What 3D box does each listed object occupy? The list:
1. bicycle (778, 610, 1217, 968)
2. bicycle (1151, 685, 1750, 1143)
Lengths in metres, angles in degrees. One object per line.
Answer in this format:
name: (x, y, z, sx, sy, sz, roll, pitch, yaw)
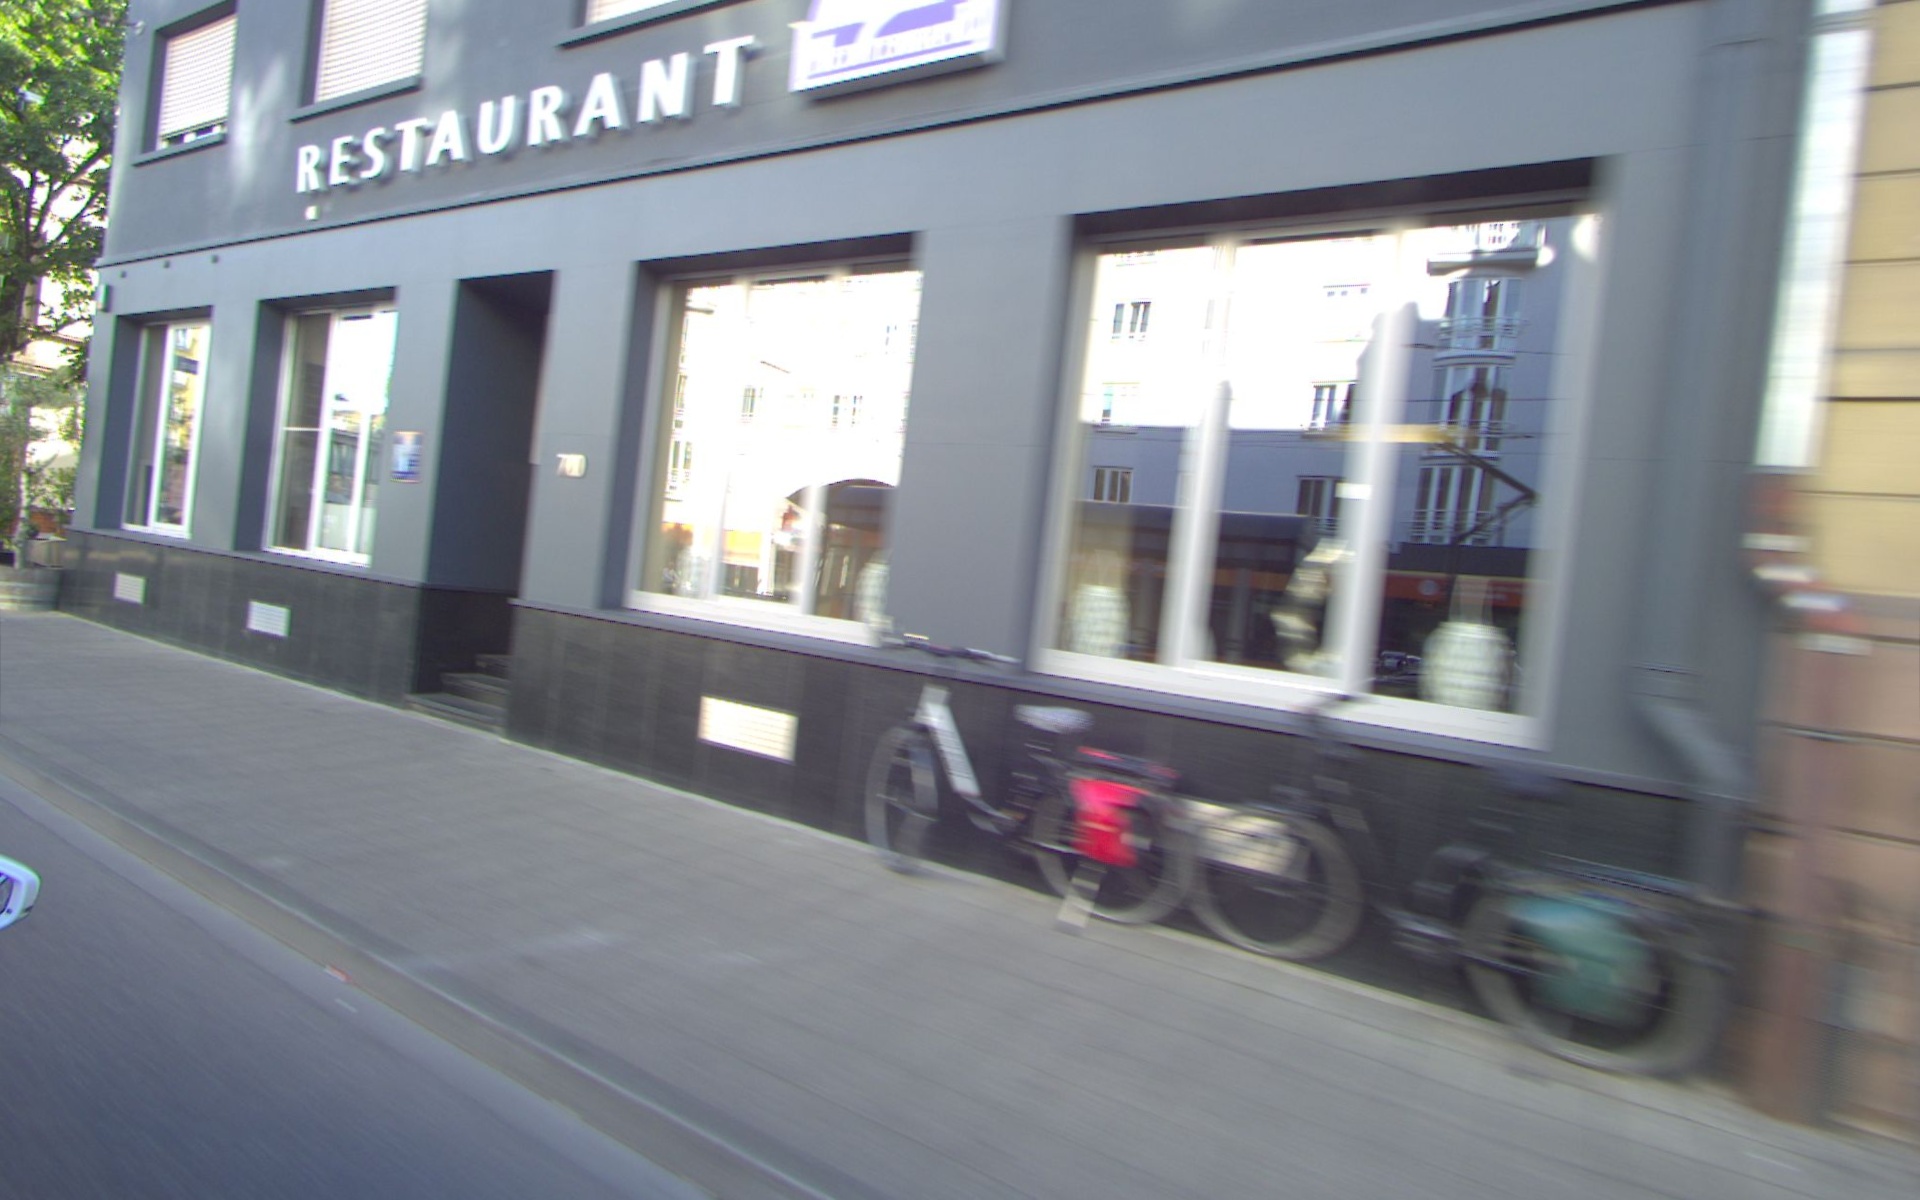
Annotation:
bicycle: (0.123, 0.757, 4.690, 1.875, 1.215, 0.623, 7, 4, 30)
bicycle: (1.706, 1.009, 3.740, 1.775, 1.085, 0.590, 8, 5, 34)
